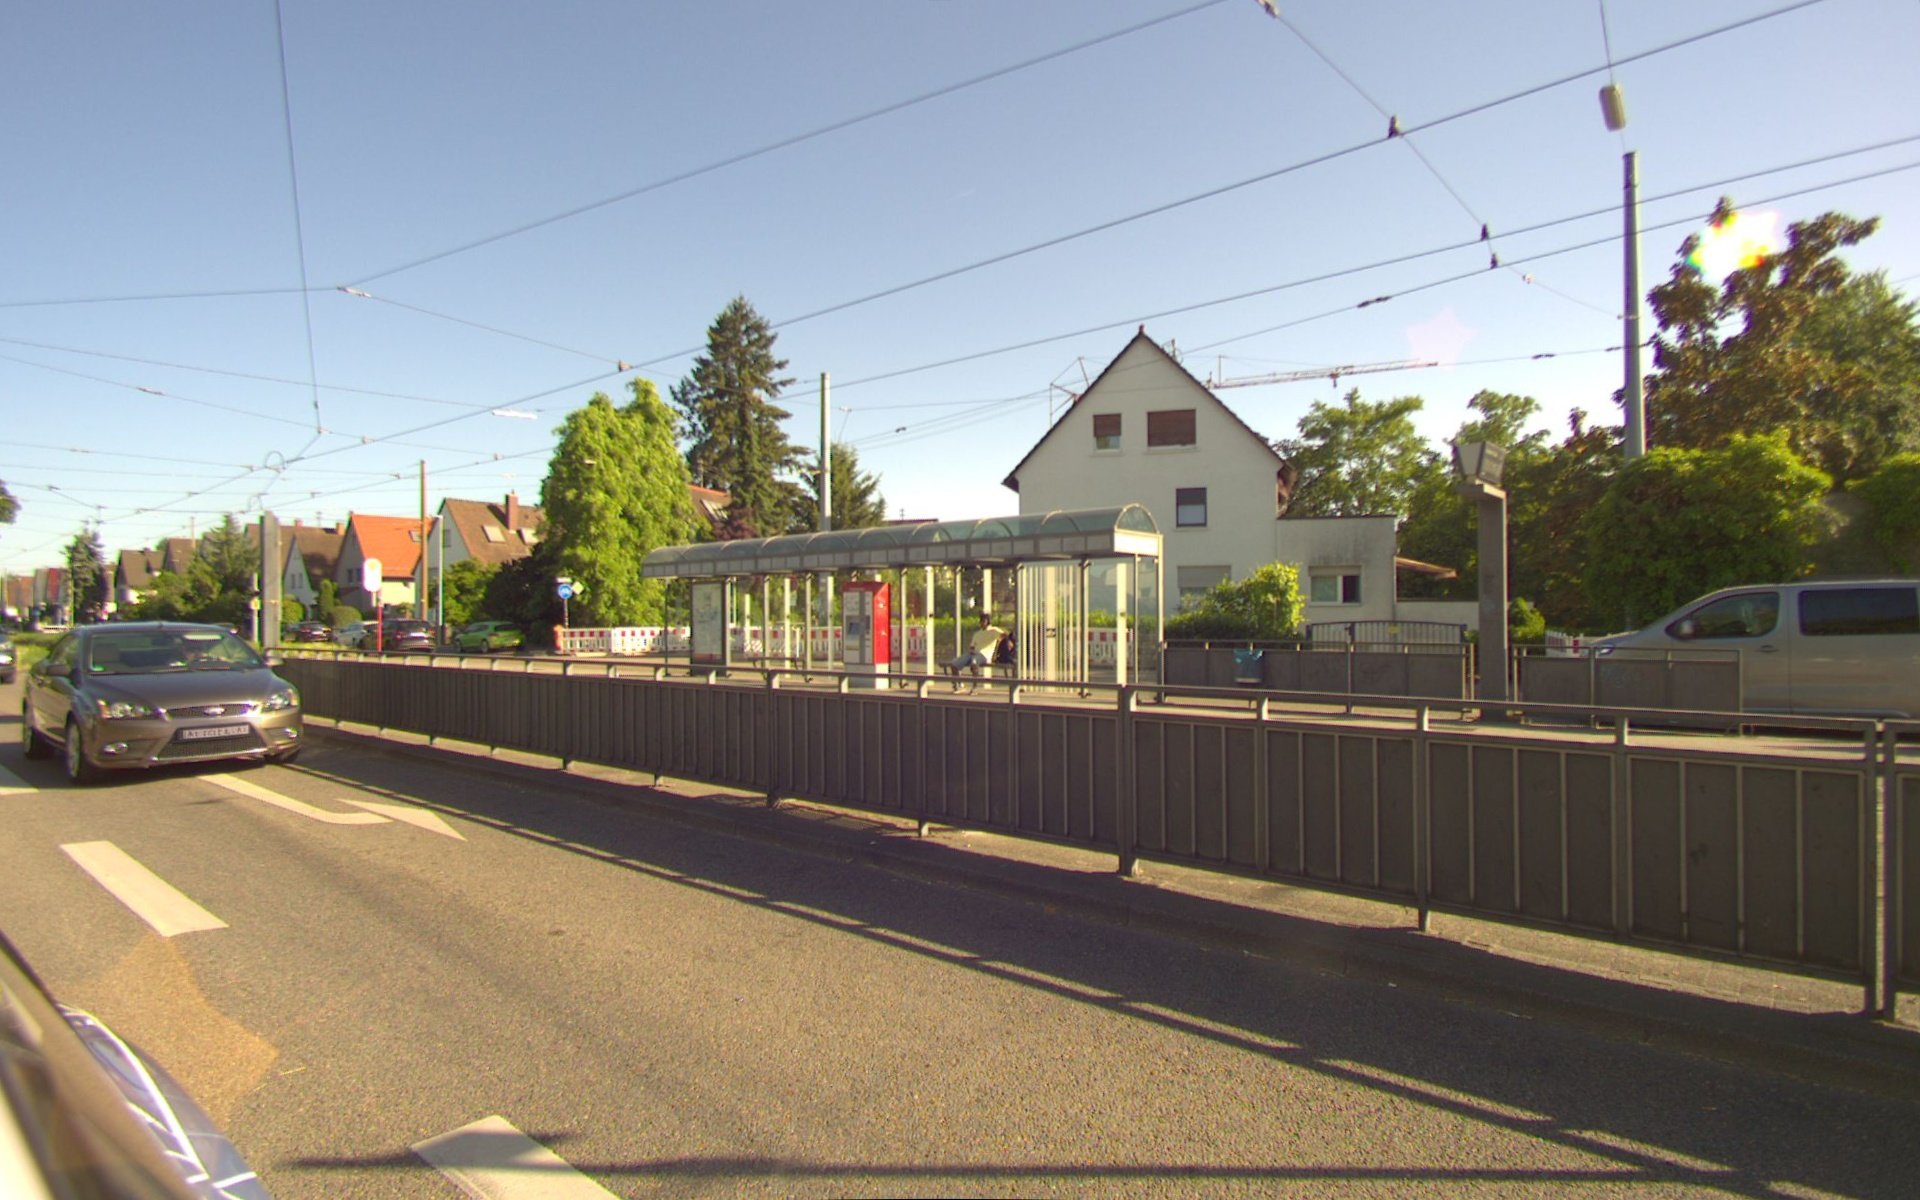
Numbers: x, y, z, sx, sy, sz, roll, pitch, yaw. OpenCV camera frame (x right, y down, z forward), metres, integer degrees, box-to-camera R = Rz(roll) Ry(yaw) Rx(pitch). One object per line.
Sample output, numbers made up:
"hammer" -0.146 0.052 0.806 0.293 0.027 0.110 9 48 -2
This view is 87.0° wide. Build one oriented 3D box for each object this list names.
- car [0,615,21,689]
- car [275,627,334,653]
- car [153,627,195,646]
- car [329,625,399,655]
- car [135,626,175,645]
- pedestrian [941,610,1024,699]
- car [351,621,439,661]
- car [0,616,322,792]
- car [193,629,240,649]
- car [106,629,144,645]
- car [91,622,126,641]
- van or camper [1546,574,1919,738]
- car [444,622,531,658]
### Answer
"car" -23.378 1.205 23.565 4.285 1.642 1.757 -2 -2 41
"car" -40.381 2.428 62.283 4.438 1.477 1.887 -1 0 41
"car" -65.132 3.016 83.805 4.837 1.483 1.864 -2 0 42
"car" -32.799 2.179 55.645 4.610 1.483 1.865 -1 0 40
"car" -69.131 3.046 86.899 4.534 1.573 1.864 -2 0 41
"pedestrian" 0.391 0.913 17.443 1.006 1.464 1.050 -1 -2 40
"car" -22.960 1.640 41.064 4.341 1.532 1.717 -2 -2 41
"car" -8.395 0.924 10.489 4.330 1.461 1.757 -2 -2 40
"car" -54.655 2.869 74.380 4.308 1.382 1.972 -2 -1 42
"car" -78.010 3.424 94.499 4.979 1.351 1.973 -1 0 41
"car" -84.548 3.139 100.482 4.582 1.877 1.973 -2 -1 41
"van or camper" 10.861 0.656 12.534 5.981 1.842 1.974 -2 -2 39
"car" -21.608 1.781 46.254 4.064 1.512 1.974 -1 0 38
